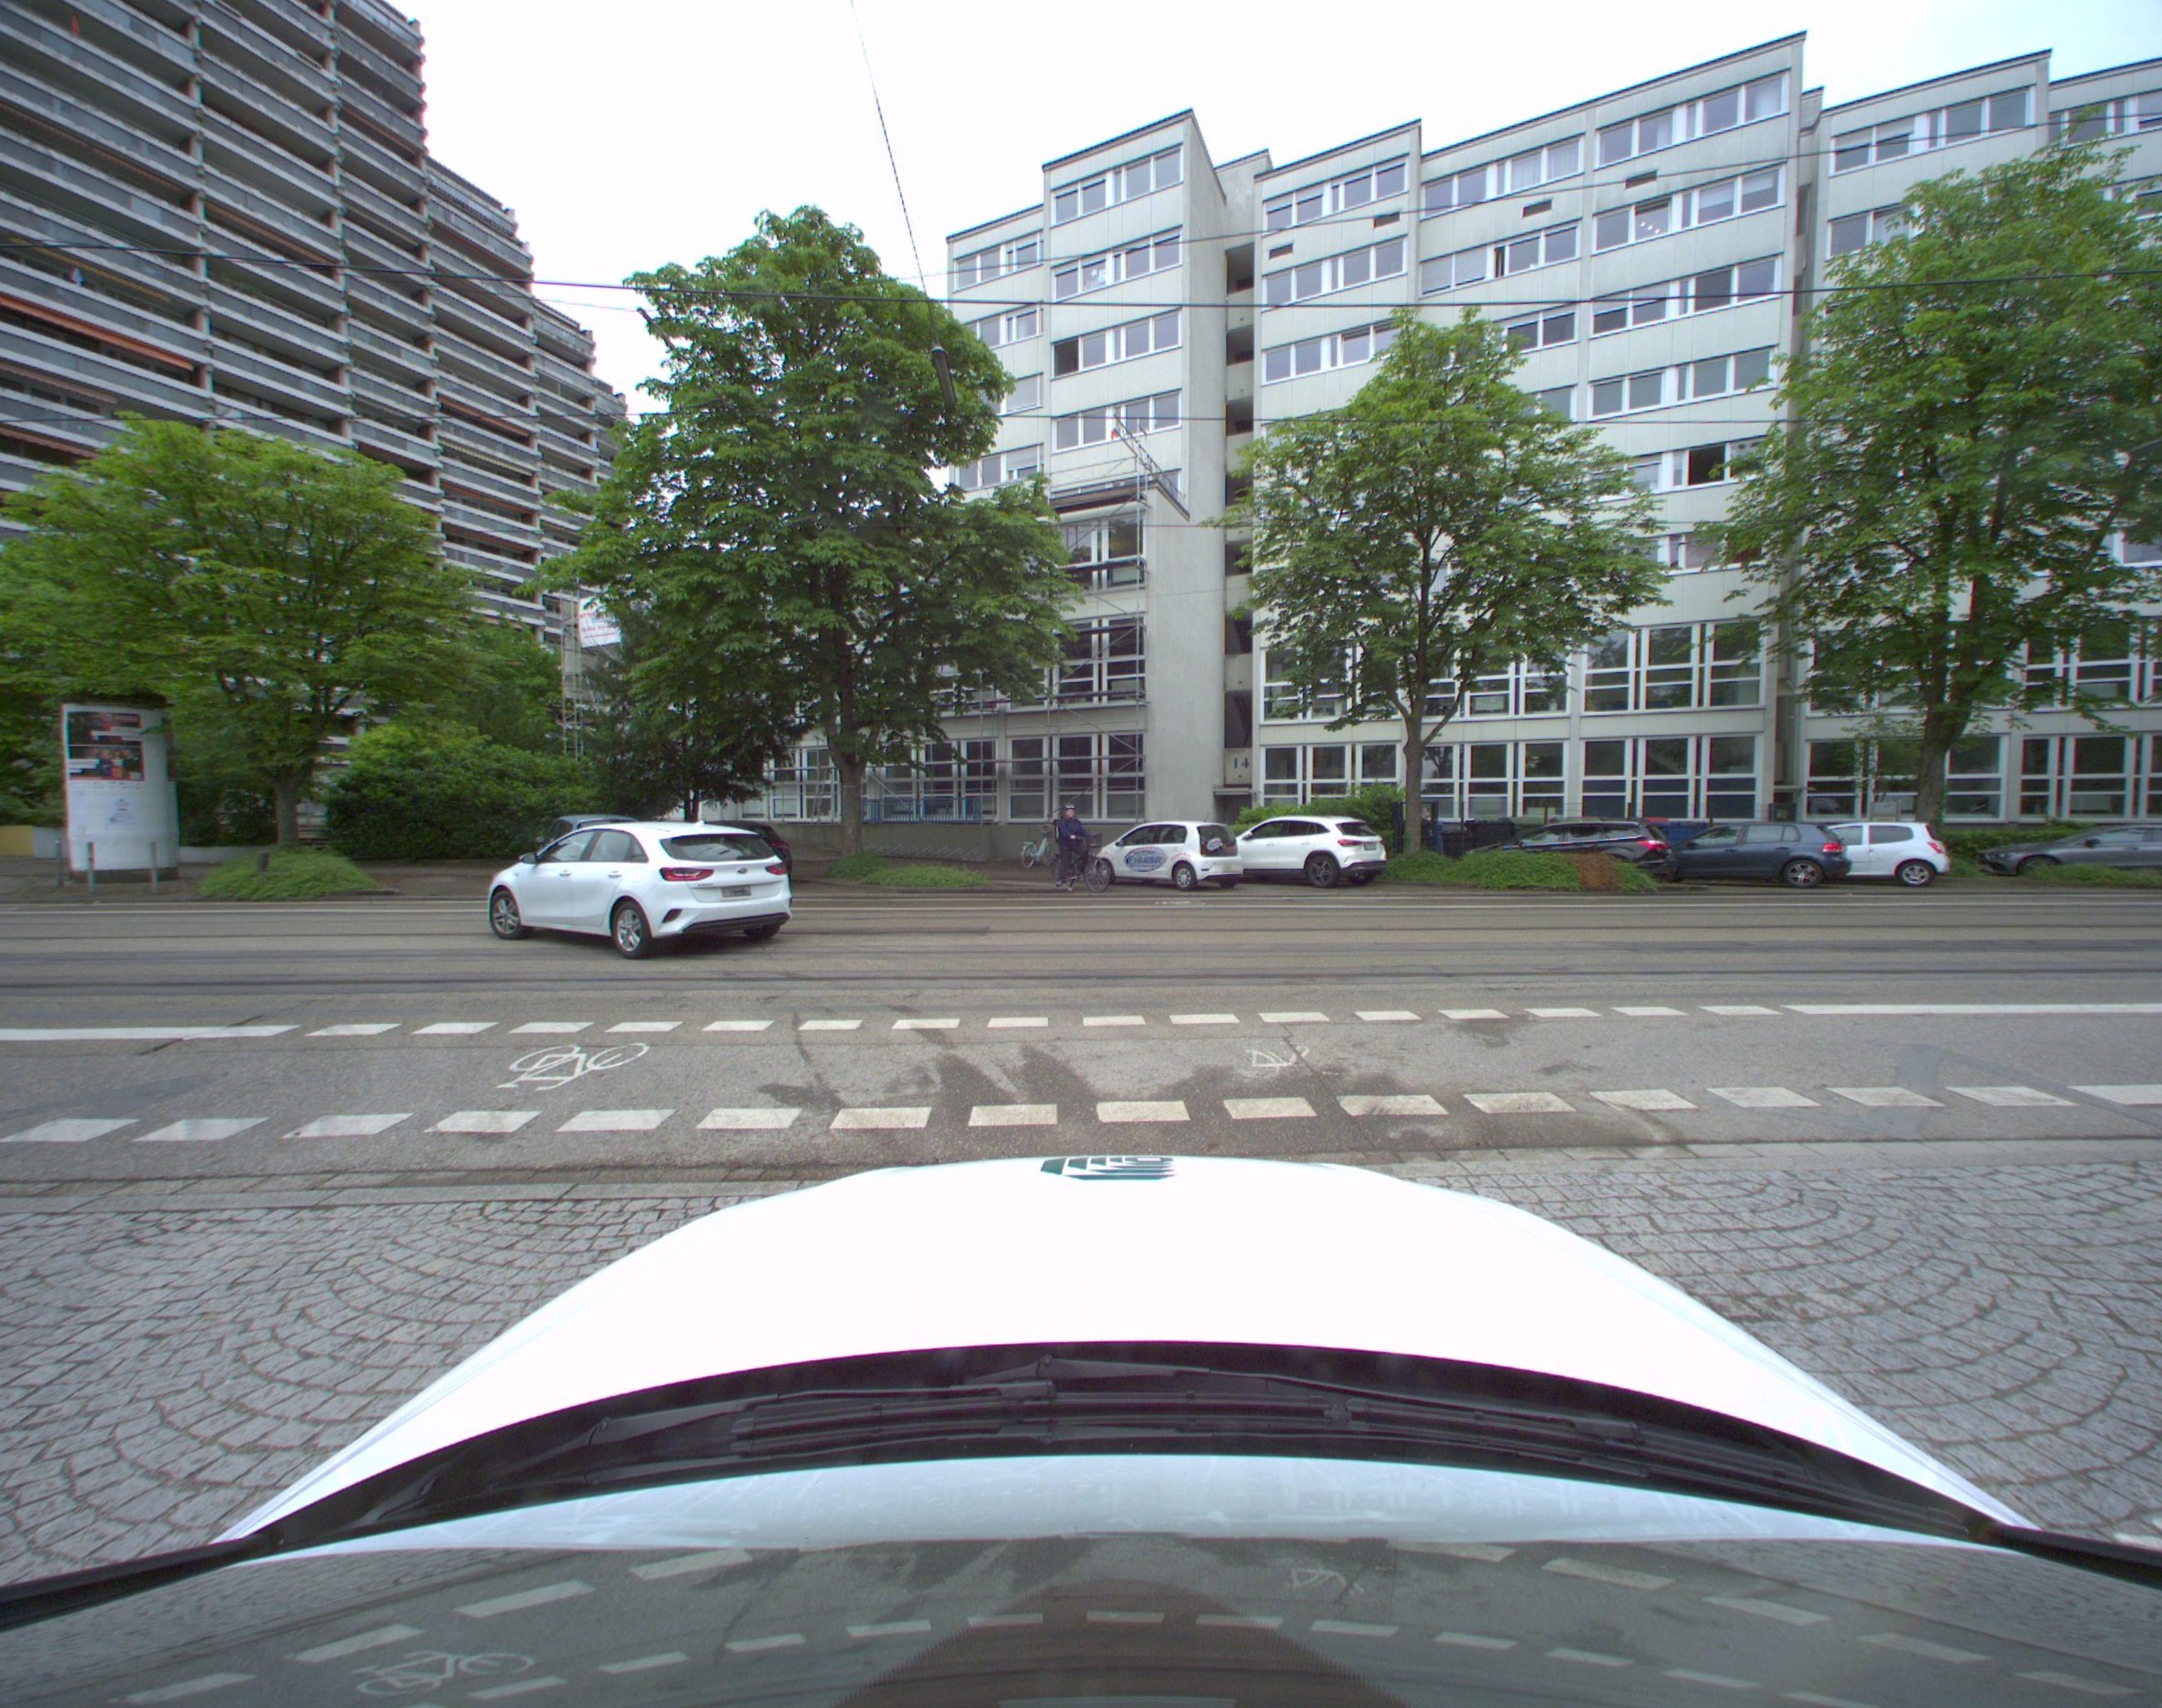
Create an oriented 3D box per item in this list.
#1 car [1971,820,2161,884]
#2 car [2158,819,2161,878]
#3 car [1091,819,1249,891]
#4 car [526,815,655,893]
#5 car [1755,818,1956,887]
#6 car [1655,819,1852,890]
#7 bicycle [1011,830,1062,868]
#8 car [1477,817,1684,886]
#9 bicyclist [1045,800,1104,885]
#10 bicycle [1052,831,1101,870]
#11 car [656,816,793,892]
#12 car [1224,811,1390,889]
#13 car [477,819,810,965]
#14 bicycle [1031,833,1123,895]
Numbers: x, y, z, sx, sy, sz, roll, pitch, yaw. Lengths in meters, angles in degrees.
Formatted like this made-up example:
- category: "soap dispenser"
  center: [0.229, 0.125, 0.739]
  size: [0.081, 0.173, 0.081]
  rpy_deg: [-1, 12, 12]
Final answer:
- category: "car"
  center: [24.832, -0.047, 19.615]
  size: [4.441, 1.473, 1.425]
  rpy_deg: [1, 0, 41]
- category: "car"
  center: [28.361, -0.085, 19.228]
  size: [1.425, 1.473, 3.348]
  rpy_deg: [-2, 3, -45]
- category: "car"
  center: [1.943, -0.029, 18.402]
  size: [1.565, 1.473, 3.367]
  rpy_deg: [-3, 3, -42]
- category: "car"
  center: [-10.816, -0.068, 17.881]
  size: [3.296, 1.536, 1.628]
  rpy_deg: [2, 3, 45]
- category: "car"
  center: [18.203, -0.079, 19.267]
  size: [1.425, 1.473, 3.348]
  rpy_deg: [-3, 3, -45]
- category: "car"
  center: [15.256, -0.030, 18.582]
  size: [1.425, 1.473, 3.348]
  rpy_deg: [-3, 3, -45]
- category: "bicycle"
  center: [-1.326, -0.181, 24.819]
  size: [0.638, 1.074, 2.325]
  rpy_deg: [1, 2, 22]
- category: "car"
  center: [11.661, -0.107, 19.147]
  size: [3.904, 1.473, 1.684]
  rpy_deg: [1, 3, 42]
- category: "bicyclist"
  center: [-0.136, -0.259, 16.850]
  size: [0.839, 1.697, 0.886]
  rpy_deg: [-2, 3, -43]
- category: "bicycle"
  center: [-0.098, -0.121, 24.305]
  size: [0.638, 1.074, 2.325]
  rpy_deg: [1, 2, 22]
- category: "car"
  center: [-7.871, -0.049, 17.882]
  size: [3.296, 1.510, 1.628]
  rpy_deg: [1, 3, 45]
- category: "car"
  center: [5.141, -0.139, 18.789]
  size: [1.565, 1.617, 3.367]
  rpy_deg: [-3, 3, -42]
- category: "car"
  center: [-5.380, 0.307, 9.934]
  size: [3.928, 1.432, 1.793]
  rpy_deg: [2, 3, 31]
- category: "bicycle"
  center: [-0.106, 0.177, 16.825]
  size: [0.826, 1.174, 1.892]
  rpy_deg: [-2, 3, -44]
